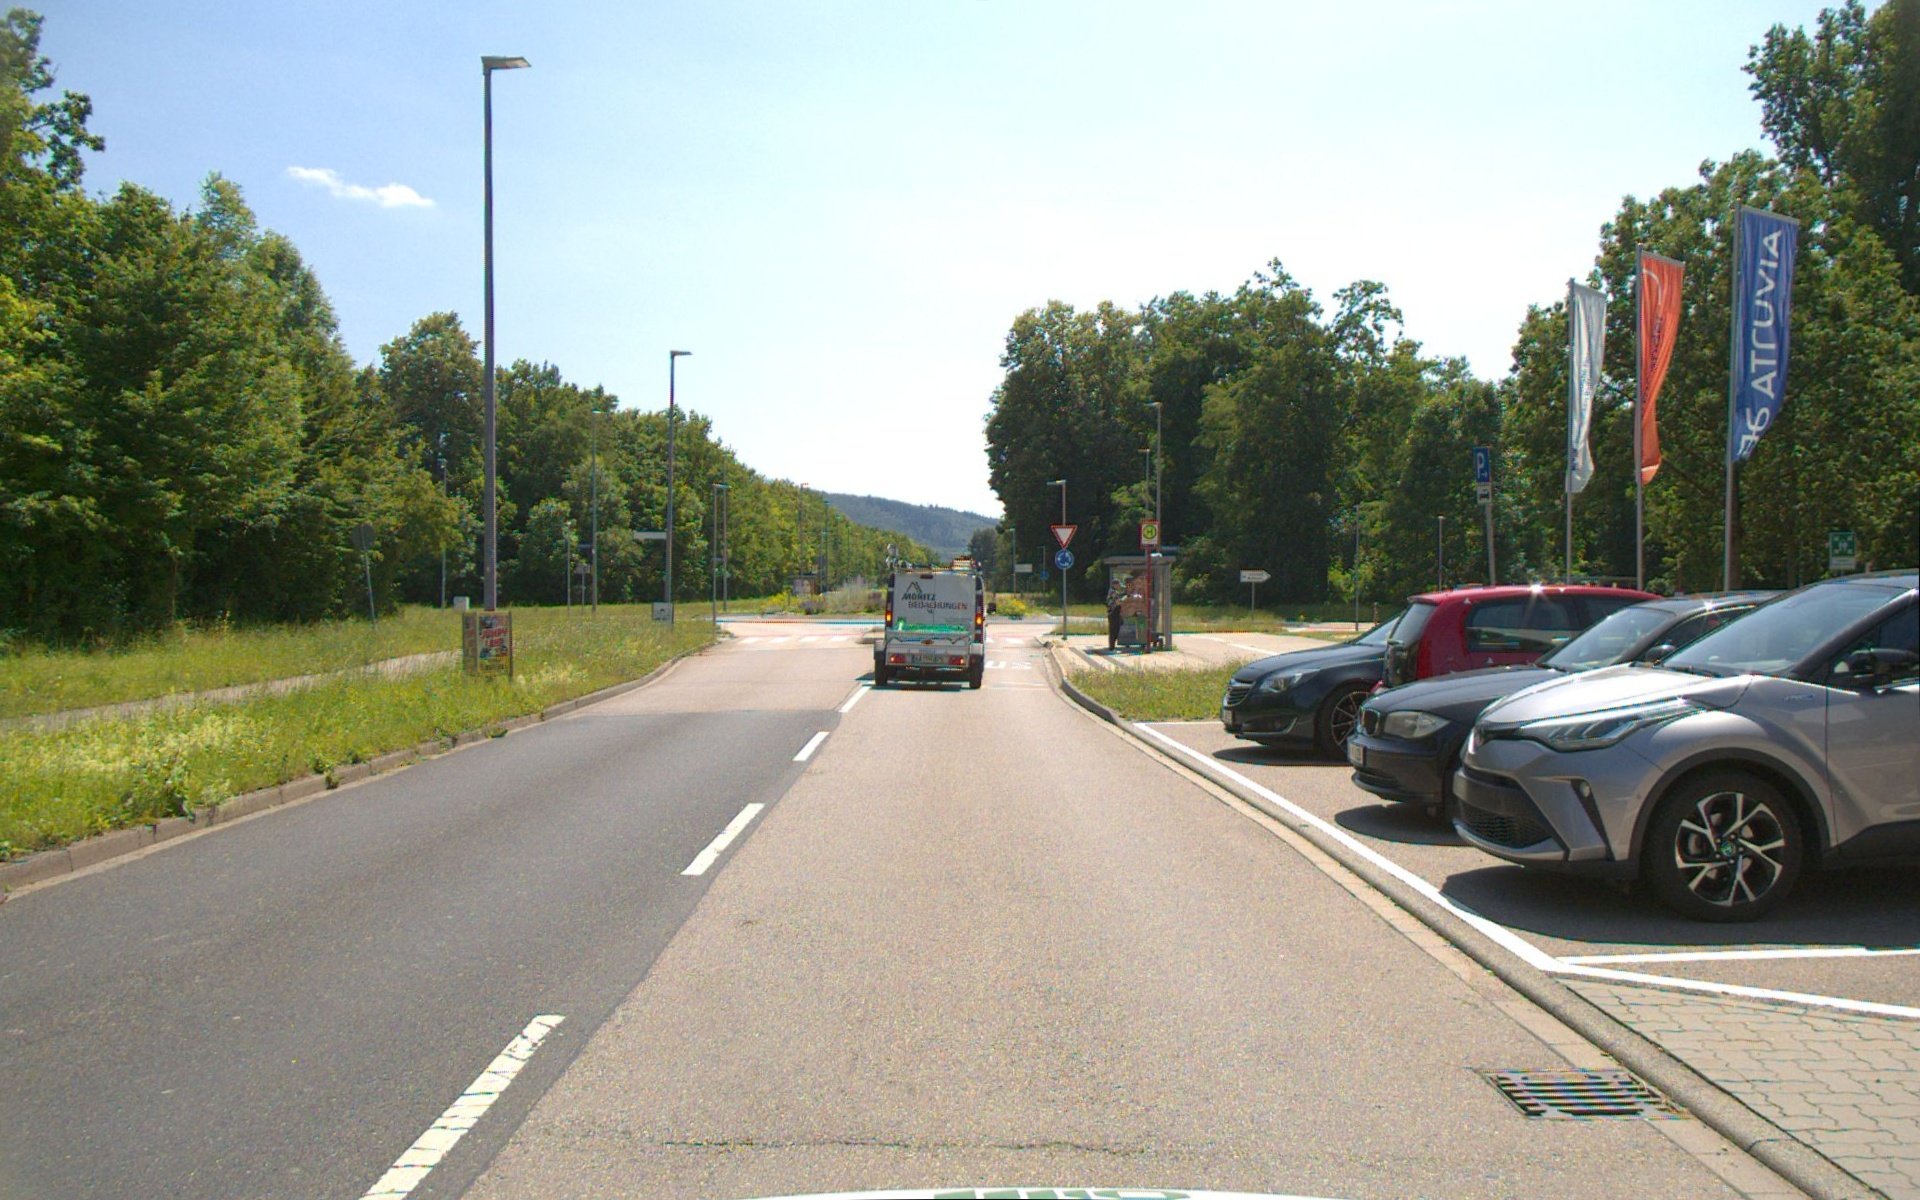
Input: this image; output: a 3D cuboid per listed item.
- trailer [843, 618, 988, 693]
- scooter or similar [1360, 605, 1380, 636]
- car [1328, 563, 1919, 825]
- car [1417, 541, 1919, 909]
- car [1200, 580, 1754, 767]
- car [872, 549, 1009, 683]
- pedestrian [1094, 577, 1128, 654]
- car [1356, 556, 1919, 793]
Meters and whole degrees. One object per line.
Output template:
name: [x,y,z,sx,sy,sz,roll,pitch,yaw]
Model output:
trailer: [-0.677,0.902,27.999,2.076,1.116,3.356,1,0,5]
scooter or similar: [16.588,0.838,66.923,0.438,1.222,1.397,1,0,28]
car: [4.404,0.559,10.635,3.728,1.512,1.656,-1,0,2]
car: [4.639,0.530,8.215,4.231,1.591,1.786,-1,0,1]
car: [4.593,0.632,15.155,4.474,1.457,1.827,-2,0,-1]
car: [-0.283,0.294,32.161,2.120,2.357,4.984,1,0,5]
pedestrian: [3.679,0.374,40.379,0.693,1.854,0.826,-2,0,1]
car: [5.216,0.542,12.792,3.904,1.684,1.840,0,0,2]
